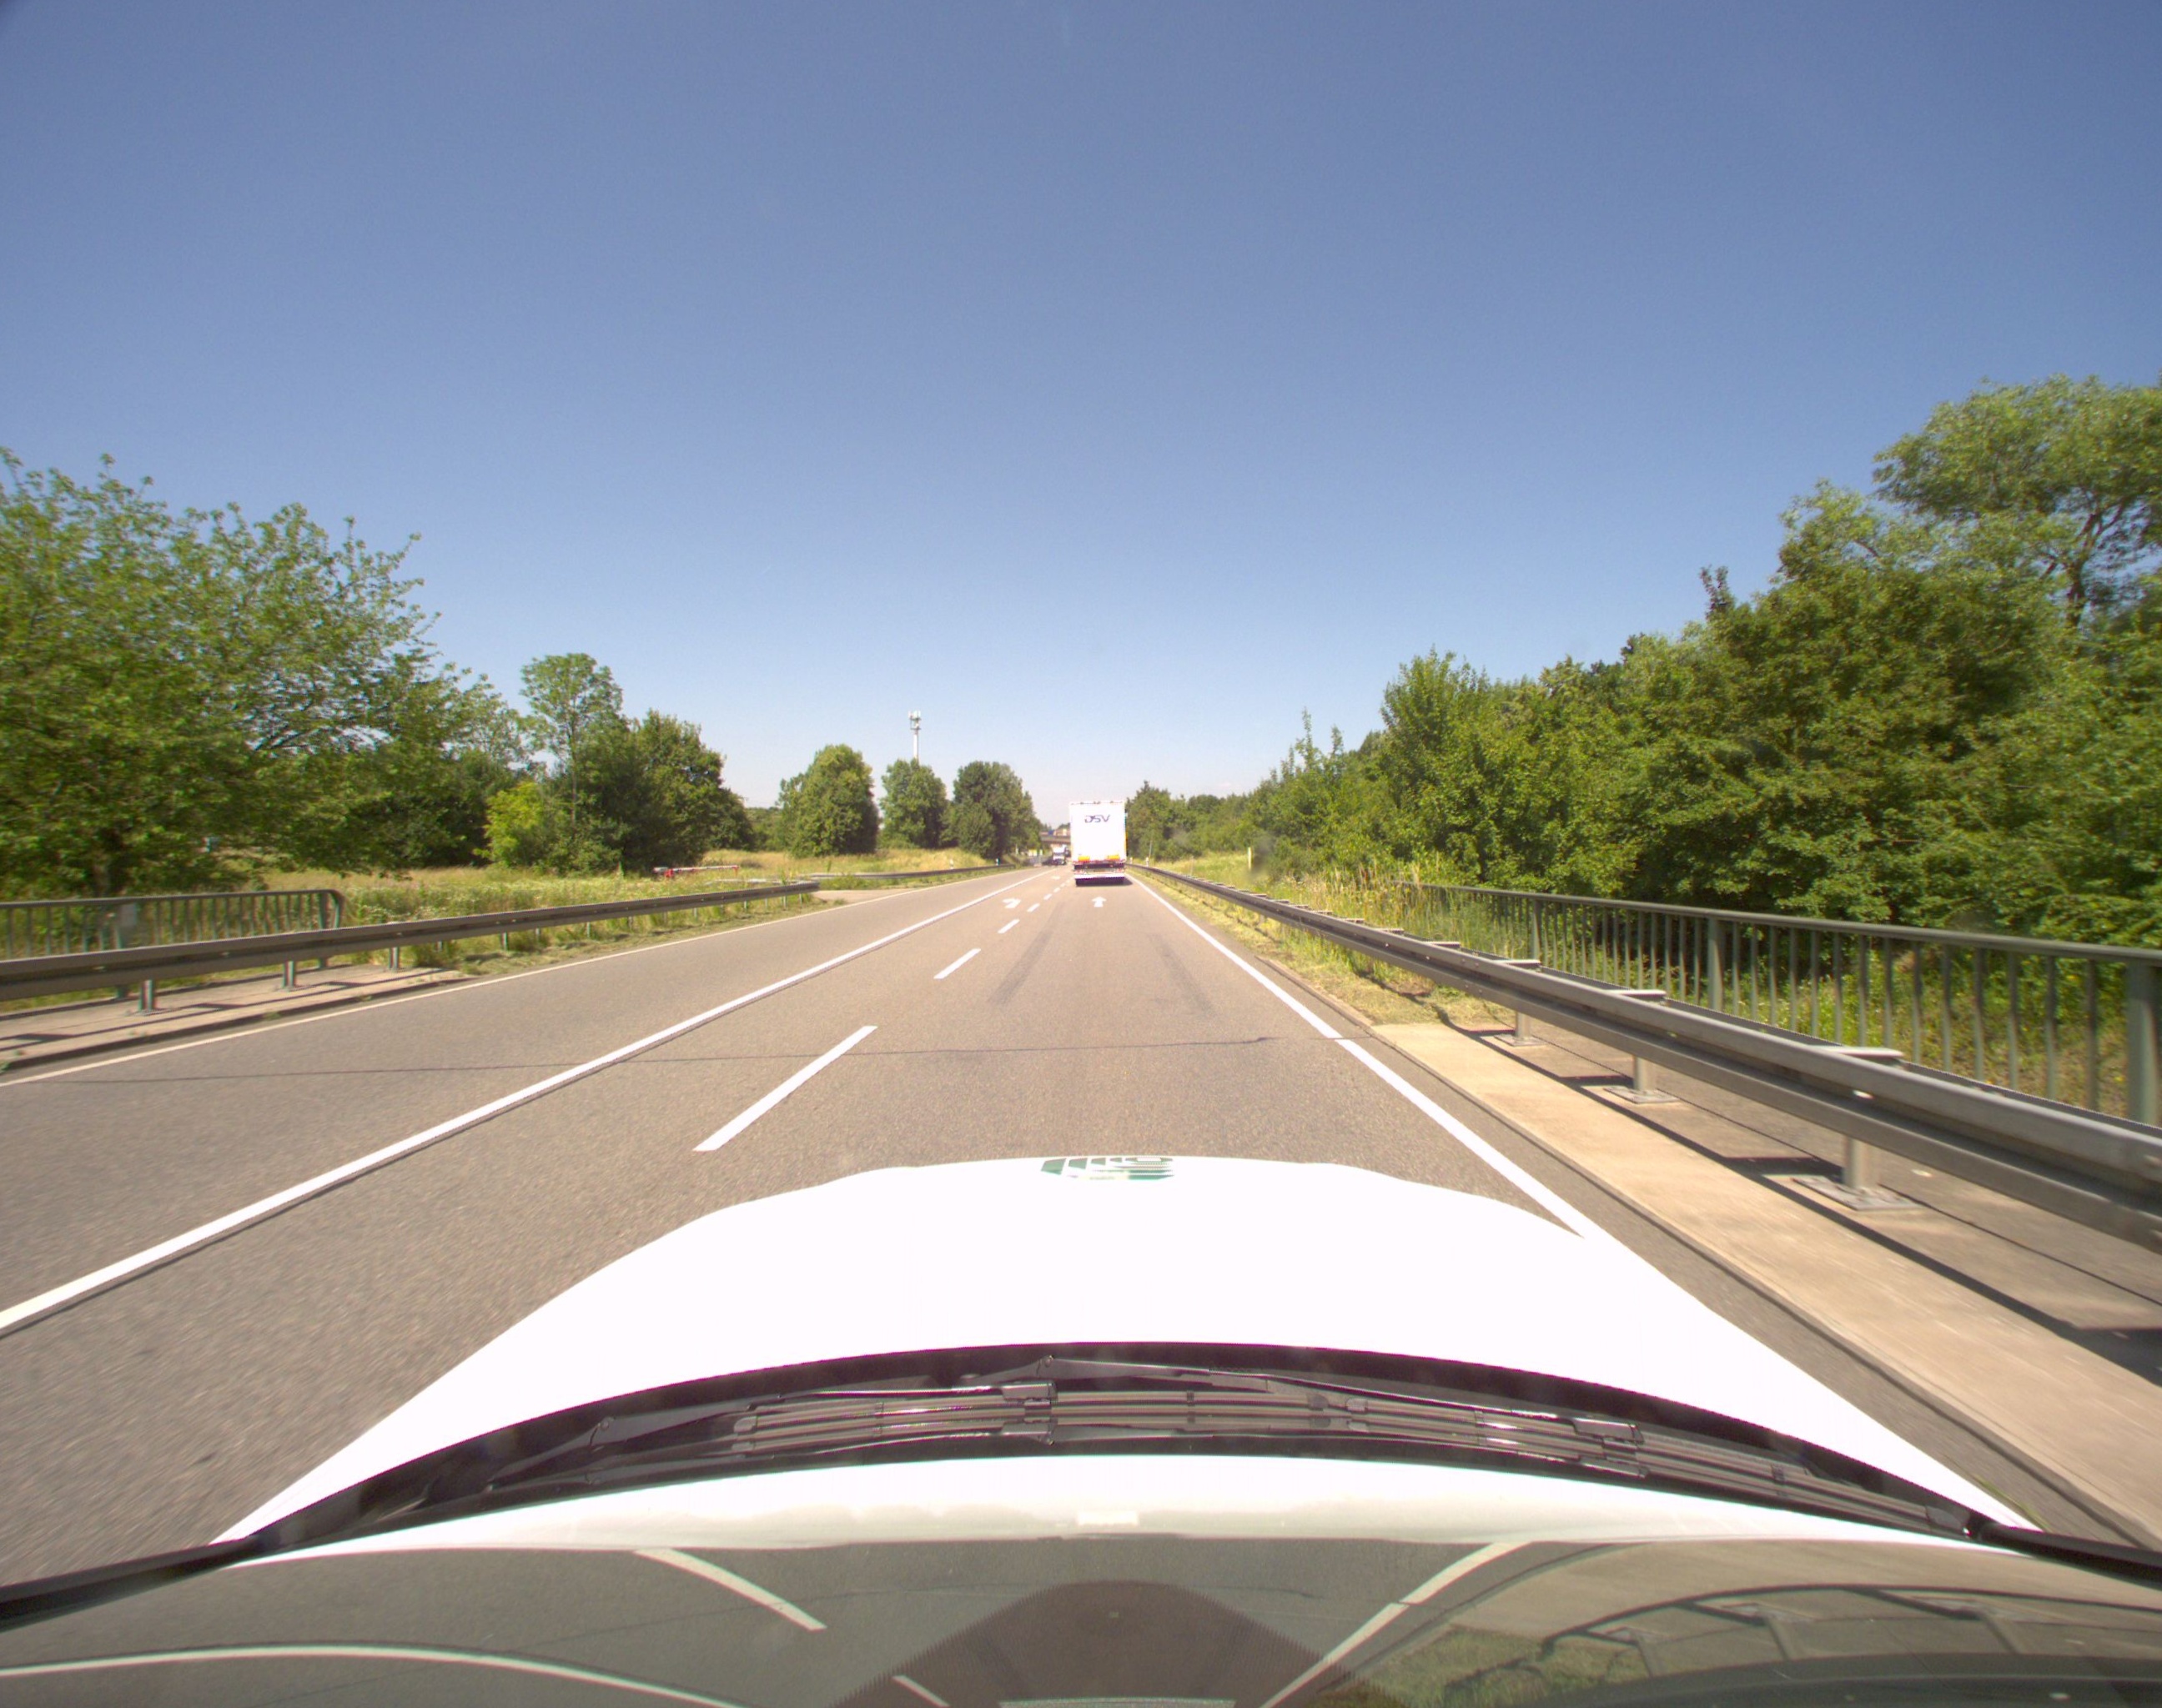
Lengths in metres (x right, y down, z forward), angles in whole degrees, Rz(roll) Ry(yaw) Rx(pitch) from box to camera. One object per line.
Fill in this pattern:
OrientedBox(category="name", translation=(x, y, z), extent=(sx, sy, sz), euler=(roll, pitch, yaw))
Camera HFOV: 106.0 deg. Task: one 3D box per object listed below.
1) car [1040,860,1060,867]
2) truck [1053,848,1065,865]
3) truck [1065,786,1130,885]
OrientedBox(category="car", translation=(-6.514, 2.020, 172.102), extent=(3.881, 1.513, 1.698), euler=(-1, 0, -24))
OrientedBox(category="truck", translation=(-5.255, 0.513, 192.806), extent=(2.345, 3.750, 12.624), euler=(-1, 0, 0))
OrientedBox(category="truck", translation=(0.896, -0.833, 42.794), extent=(2.939, 4.568, 9.866), euler=(-1, 0, 2))
